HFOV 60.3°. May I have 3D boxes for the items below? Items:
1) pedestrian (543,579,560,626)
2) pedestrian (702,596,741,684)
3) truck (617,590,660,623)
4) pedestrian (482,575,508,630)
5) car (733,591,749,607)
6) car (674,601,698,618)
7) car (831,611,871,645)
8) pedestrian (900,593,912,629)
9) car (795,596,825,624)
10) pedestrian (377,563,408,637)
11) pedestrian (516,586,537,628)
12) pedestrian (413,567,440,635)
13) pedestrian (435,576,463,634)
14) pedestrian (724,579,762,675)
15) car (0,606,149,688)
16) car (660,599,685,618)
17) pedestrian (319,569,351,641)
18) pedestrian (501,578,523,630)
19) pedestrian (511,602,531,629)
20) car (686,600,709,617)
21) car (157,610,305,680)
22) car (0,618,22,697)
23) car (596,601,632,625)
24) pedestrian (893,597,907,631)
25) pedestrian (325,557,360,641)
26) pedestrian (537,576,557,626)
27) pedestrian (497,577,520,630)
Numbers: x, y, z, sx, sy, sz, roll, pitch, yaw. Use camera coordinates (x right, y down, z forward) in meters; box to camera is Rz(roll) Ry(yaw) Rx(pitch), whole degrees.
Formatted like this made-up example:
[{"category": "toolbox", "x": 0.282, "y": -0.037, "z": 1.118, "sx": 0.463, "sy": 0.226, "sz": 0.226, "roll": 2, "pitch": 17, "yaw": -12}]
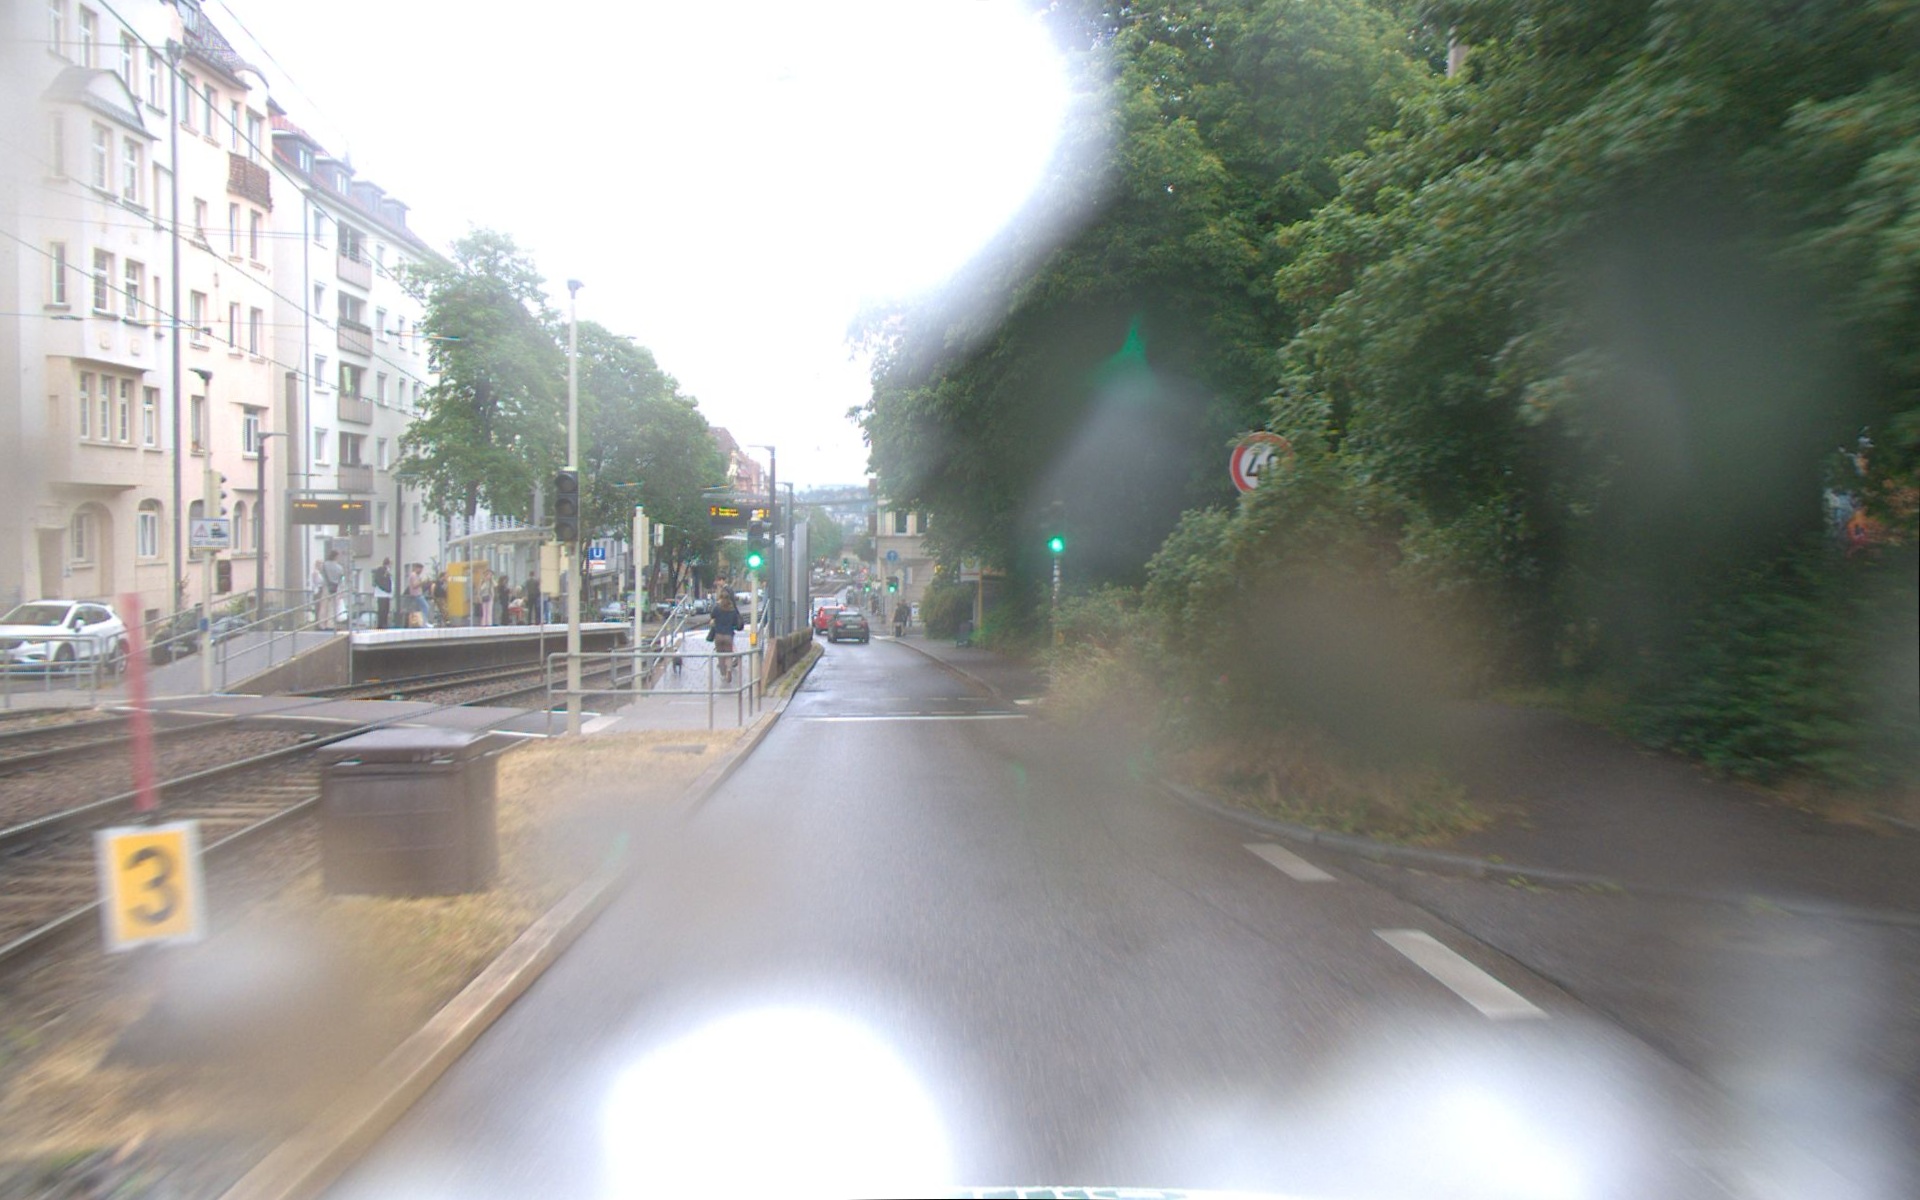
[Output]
[{"category": "pedestrian", "x": -15.465, "y": 0.091, "z": 62.561, "sx": 0.473, "sy": 1.771, "sz": 0.563, "roll": -2, "pitch": -1, "yaw": -4}, {"category": "pedestrian", "x": -4.398, "y": 0.725, "z": 30.525, "sx": 0.637, "sy": 1.589, "sz": 0.683, "roll": -1, "pitch": 0, "yaw": -3}, {"category": "truck", "x": -24.346, "y": 0.501, "z": 125.376, "sx": 2.009, "sy": 2.435, "sz": 6.320, "roll": -1, "pitch": 0, "yaw": -1}, {"category": "pedestrian", "x": -14.719, "y": 0.093, "z": 52.335, "sx": 0.582, "sy": 1.695, "sz": 0.761, "roll": -2, "pitch": -1, "yaw": -4}, {"category": "car", "x": -29.466, "y": -0.175, "z": 222.684, "sx": 1.955, "sy": 2.049, "sz": 4.342, "roll": -2, "pitch": 0, "yaw": -5}, {"category": "car", "x": -26.110, "y": 0.867, "z": 157.911, "sx": 1.738, "sy": 1.514, "sz": 4.252, "roll": -3, "pitch": 0, "yaw": -3}, {"category": "car", "x": -5.279, "y": 1.347, "z": 79.562, "sx": 1.815, "sy": 1.499, "sz": 3.996, "roll": -1, "pitch": 0, "yaw": -5}, {"category": "pedestrian", "x": -2.794, "y": 0.545, "z": 85.117, "sx": 0.543, "sy": 1.845, "sz": 0.650, "roll": 0, "pitch": 0, "yaw": -6}, {"category": "car", "x": -9.980, "y": 0.650, "z": 110.093, "sx": 1.911, "sy": 1.824, "sz": 4.139, "roll": 0, "pitch": 0, "yaw": -5}, {"category": "pedestrian", "x": -14.691, "y": 0.000, "z": 42.819, "sx": 0.506, "sy": 1.870, "sz": 0.761, "roll": -2, "pitch": -1, "yaw": -4}, {"category": "pedestrian", "x": -15.150, "y": 0.259, "z": 57.844, "sx": 0.539, "sy": 1.438, "sz": 0.613, "roll": -2, "pitch": -1, "yaw": -4}, {"category": "pedestrian", "x": -14.947, "y": 0.038, "z": 46.347, "sx": 0.506, "sy": 1.870, "sz": 0.761, "roll": -2, "pitch": -1, "yaw": -4}, {"category": "pedestrian", "x": -15.091, "y": 0.150, "z": 48.877, "sx": 0.582, "sy": 1.695, "sz": 0.761, "roll": -2, "pitch": -1, "yaw": -4}, {"category": "pedestrian", "x": -4.160, "y": 0.512, "z": 31.733, "sx": 0.637, "sy": 1.815, "sz": 0.847, "roll": -1, "pitch": 0, "yaw": -3}, {"category": "car", "x": -19.966, "y": 1.001, "z": 36.583, "sx": 1.884, "sy": 1.650, "sz": 4.533, "roll": -2, "pitch": 0, "yaw": -2}, {"category": "car", "x": -25.461, "y": 0.741, "z": 146.500, "sx": 1.738, "sy": 1.573, "sz": 4.252, "roll": -3, "pitch": 0, "yaw": -4}, {"category": "pedestrian", "x": -14.554, "y": 0.120, "z": 38.520, "sx": 0.506, "sy": 1.633, "sz": 0.562, "roll": -2, "pitch": -1, "yaw": -4}, {"category": "pedestrian", "x": -15.100, "y": 0.135, "z": 55.790, "sx": 0.539, "sy": 1.695, "sz": 0.613, "roll": -2, "pitch": -1, "yaw": -4}, {"category": "pedestrian", "x": -15.117, "y": 0.527, "z": 56.943, "sx": 0.539, "sy": 0.887, "sz": 0.613, "roll": -2, "pitch": -1, "yaw": -4}, {"category": "car", "x": -26.428, "y": 0.821, "z": 166.590, "sx": 1.738, "sy": 1.647, "sz": 4.252, "roll": -3, "pitch": 0, "yaw": -3}, {"category": "car", "x": -19.938, "y": 1.207, "z": 45.489, "sx": 1.953, "sy": 1.762, "sz": 4.812, "roll": -2, "pitch": -1, "yaw": -1}, {"category": "car", "x": -19.758, "y": 1.063, "z": 30.957, "sx": 1.954, "sy": 1.560, "sz": 4.529, "roll": 1, "pitch": -2, "yaw": -3}, {"category": "car", "x": -24.078, "y": 0.886, "z": 115.218, "sx": 1.691, "sy": 1.542, "sz": 4.494, "roll": -1, "pitch": 1, "yaw": -2}, {"category": "pedestrian", "x": -3.073, "y": 0.736, "z": 84.466, "sx": 0.681, "sy": 1.725, "sz": 0.555, "roll": 0, "pitch": 0, "yaw": -6}, {"category": "pedestrian", "x": -14.171, "y": -0.025, "z": 37.971, "sx": 0.550, "sy": 1.882, "sz": 0.598, "roll": -2, "pitch": -1, "yaw": -4}, {"category": "pedestrian", "x": -14.765, "y": 0.035, "z": 59.128, "sx": 0.539, "sy": 1.771, "sz": 0.613, "roll": -2, "pitch": -1, "yaw": -4}, {"category": "pedestrian", "x": -14.927, "y": 0.119, "z": 54.673, "sx": 0.582, "sy": 1.695, "sz": 0.591, "roll": -2, "pitch": -1, "yaw": -4}]
